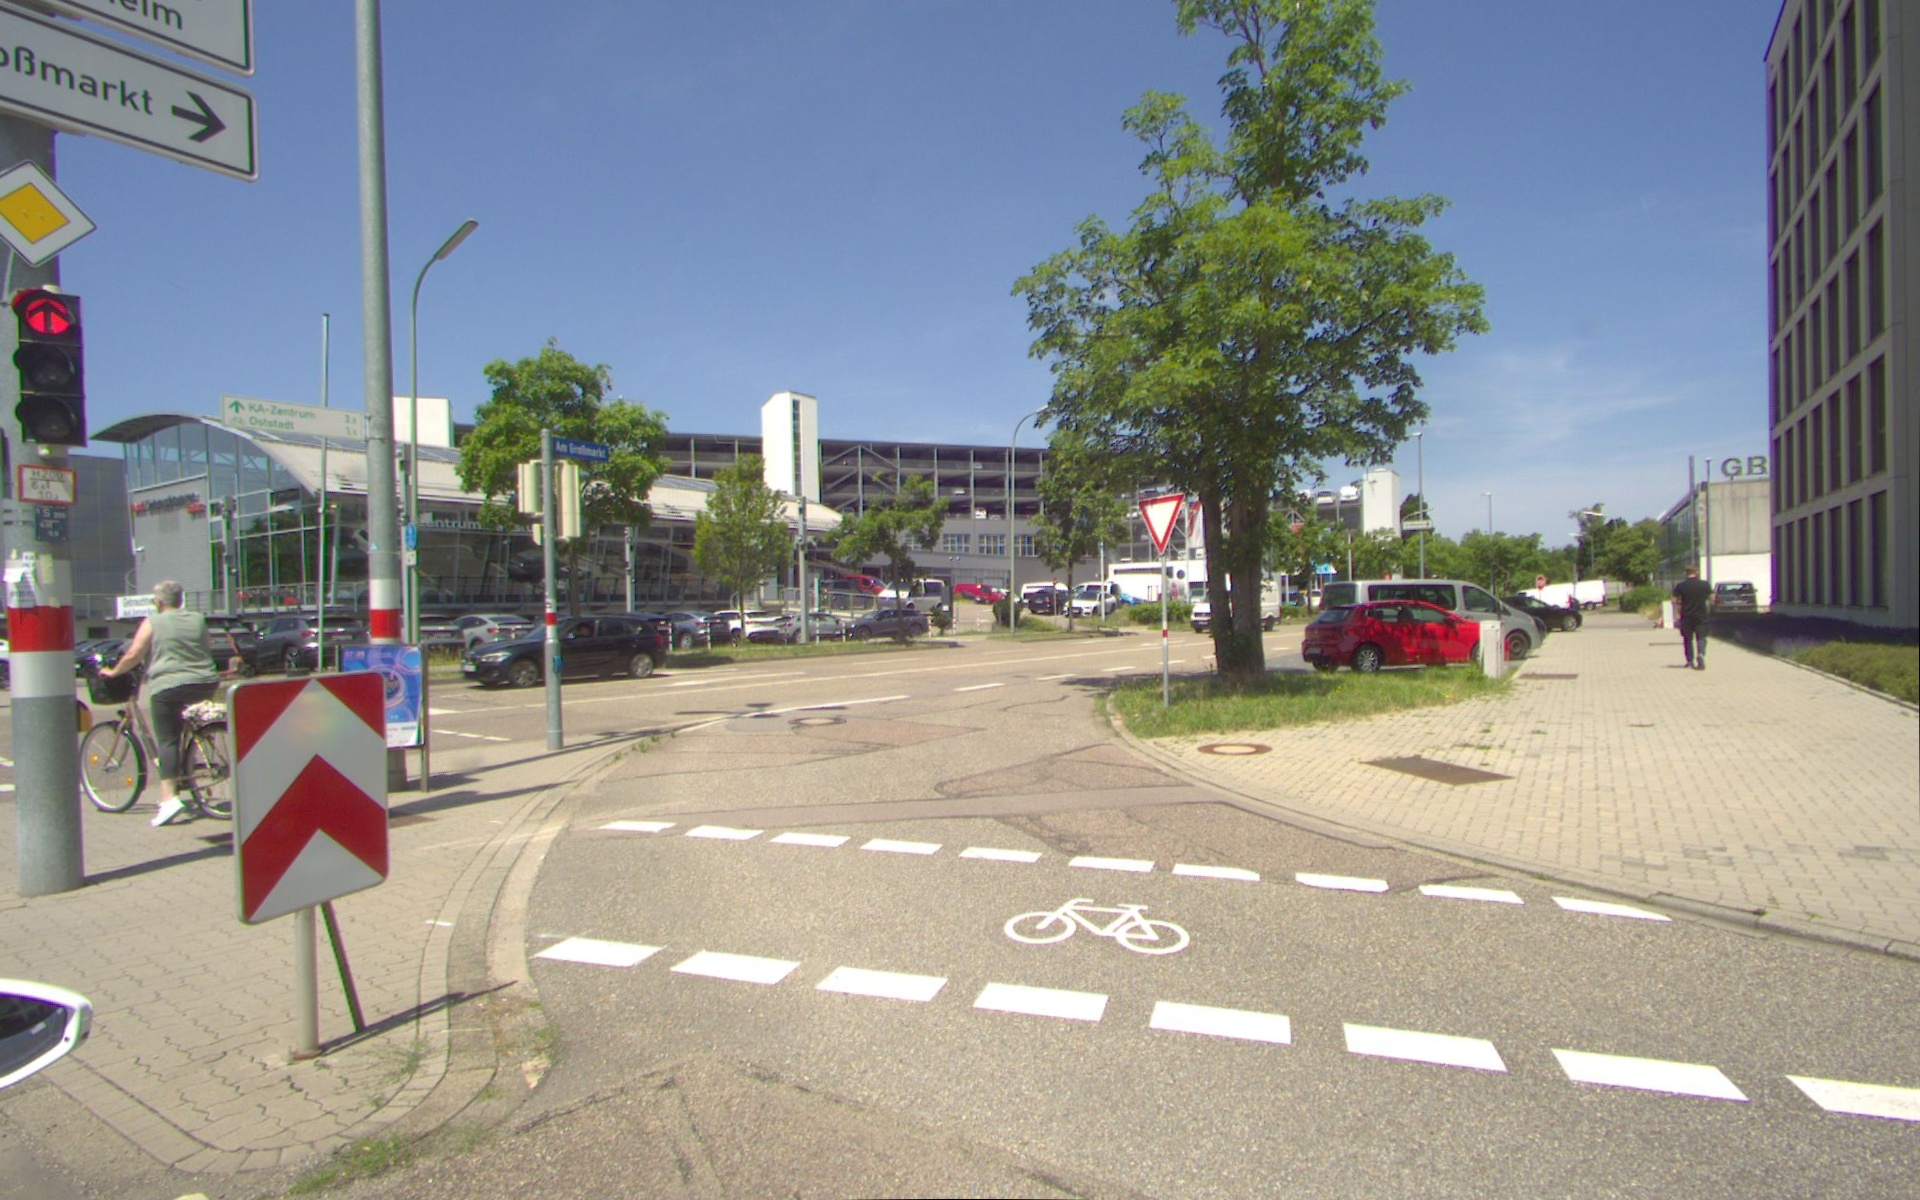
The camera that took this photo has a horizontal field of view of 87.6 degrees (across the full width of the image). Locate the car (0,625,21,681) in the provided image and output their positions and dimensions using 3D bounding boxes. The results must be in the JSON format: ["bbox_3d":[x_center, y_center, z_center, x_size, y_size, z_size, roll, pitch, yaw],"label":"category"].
[{"bbox_3d":[-27.399,1.463,25.518,1.973,1.476,4.729,-2,-1,34],"label":"car"}]

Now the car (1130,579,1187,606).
[{"bbox_3d":[15.495,-0.562,78.284,3.945,2.040,1.988,-1,0,34],"label":"car"}]

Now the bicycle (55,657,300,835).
[{"bbox_3d":[-5.934,1.032,7.579,1.891,1.142,0.786,0,0,29],"label":"bicycle"}]

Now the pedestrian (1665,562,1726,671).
[{"bbox_3d":[13.047,0.295,17.758,0.764,1.869,0.861,-2,0,40],"label":"pedestrian"}]

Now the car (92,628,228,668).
[{"bbox_3d":[-32.926,1.932,41.322,1.694,1.480,4.083,0,0,33],"label":"car"}]

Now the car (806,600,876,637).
[{"bbox_3d":[-6.888,1.036,58.068,1.839,2.040,3.732,-1,0,41],"label":"car"}]

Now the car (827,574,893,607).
[{"bbox_3d":[-6.729,-0.611,67.323,3.937,2.040,1.992,-1,0,27],"label":"car"}]

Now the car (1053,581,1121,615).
[{"bbox_3d":[8.154,-0.120,64.582,3.943,2.040,1.840,-1,0,32],"label":"car"}]

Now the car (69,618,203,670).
[{"bbox_3d":[-34.901,1.821,42.519,1.972,2.040,3.977,-1,0,33],"label":"car"}]

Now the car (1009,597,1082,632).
[{"bbox_3d":[5.142,0.890,60.330,3.943,2.040,1.989,-1,0,32],"label":"car"}]

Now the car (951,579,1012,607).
[{"bbox_3d":[1.649,-0.551,77.810,4.286,2.040,1.990,-1,0,30],"label":"car"}]

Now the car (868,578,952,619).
[{"bbox_3d":[-2.629,-0.079,53.980,1.972,2.040,5.117,-1,0,32],"label":"car"}]

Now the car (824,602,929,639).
[{"bbox_3d":[-3.954,0.939,47.606,4.702,1.662,1.821,-1,1,-35],"label":"car"}]

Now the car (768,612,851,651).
[{"bbox_3d":[-7.397,1.516,49.292,3.659,1.801,1.739,-1,0,-31],"label":"car"}]

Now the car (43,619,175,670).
[{"bbox_3d":[-37.277,1.912,43.953,1.972,2.040,3.977,-1,0,33],"label":"car"}]

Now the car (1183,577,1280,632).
[{"bbox_3d":[13.562,0.234,49.810,5.745,2.567,2.081,0,0,-45],"label":"car"}]

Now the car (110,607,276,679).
[{"bbox_3d":[-19.421,1.025,25.316,4.207,1.661,1.989,-1,0,32],"label":"car"}]

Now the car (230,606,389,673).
[{"bbox_3d":[-17.930,1.035,27.555,4.492,1.661,1.989,-1,0,32],"label":"car"}]

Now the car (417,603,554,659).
[{"bbox_3d":[-15.218,0.960,32.061,4.460,1.661,1.881,-1,1,32],"label":"car"}]

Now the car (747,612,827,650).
[{"bbox_3d":[-8.898,1.567,51.546,3.712,1.795,1.761,-1,0,-28],"label":"car"}]

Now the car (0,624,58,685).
[{"bbox_3d":[-25.114,1.365,24.107,1.973,1.476,4.729,0,0,34],"label":"car"}]

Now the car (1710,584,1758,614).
[{"bbox_3d":[42.088,-0.051,54.510,1.765,1.542,3.556,-2,0,33],"label":"car"}]

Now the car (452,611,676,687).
[{"bbox_3d":[-8.439,0.981,21.634,1.653,1.430,4.200,0,0,42],"label":"car"}]

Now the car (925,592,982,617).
[{"bbox_3d":[-0.470,0.329,74.348,3.943,1.810,1.730,-1,0,32],"label":"car"}]

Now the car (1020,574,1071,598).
[{"bbox_3d":[7.861,-1.286,92.258,4.257,2.040,1.989,-1,0,32],"label":"car"}]

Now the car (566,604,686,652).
[{"bbox_3d":[-12.272,0.995,36.713,4.410,1.661,1.824,-1,0,32],"label":"car"}]

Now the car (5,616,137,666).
[{"bbox_3d":[-39.468,1.763,44.547,1.972,2.040,3.977,-1,0,33],"label":"car"}]

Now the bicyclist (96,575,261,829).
[{"bbox_3d":[-5.837,0.721,7.494,0.742,1.772,0.733,0,0,28],"label":"bicyclist"}]

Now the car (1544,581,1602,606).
[{"bbox_3d":[55.235,-0.550,90.188,4.304,2.149,2.080,-1,0,36],"label":"car"}]

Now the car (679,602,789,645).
[{"bbox_3d":[-9.339,0.949,41.218,4.410,1.662,1.823,-1,1,32],"label":"car"}]

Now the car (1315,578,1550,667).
[{"bbox_3d":[10.911,0.484,23.242,4.814,1.839,1.704,-2,0,-10],"label":"car"}]

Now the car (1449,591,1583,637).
[{"bbox_3d":[21.426,0.555,38.702,4.075,1.558,1.815,-3,-1,2],"label":"car"}]

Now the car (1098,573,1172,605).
[{"bbox_3d":[12.045,-0.758,68.867,4.578,2.040,1.989,-1,0,32],"label":"car"}]

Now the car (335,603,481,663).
[{"bbox_3d":[-16.618,0.962,30.098,4.377,1.661,1.989,-1,1,32],"label":"car"}]

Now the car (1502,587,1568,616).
[{"bbox_3d":[41.661,0.126,72.542,3.949,2.040,1.986,-1,0,37],"label":"car"}]

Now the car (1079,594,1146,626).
[{"bbox_3d":[10.177,0.670,66.958,3.943,2.040,1.989,-1,0,32],"label":"car"}]

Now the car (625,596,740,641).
[{"bbox_3d":[-10.850,0.704,39.038,4.410,1.662,1.823,-1,1,32],"label":"car"}]

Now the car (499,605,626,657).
[{"bbox_3d":[-13.694,1.030,34.422,4.410,1.662,1.823,-1,1,32],"label":"car"}]

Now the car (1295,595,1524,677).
[{"bbox_3d":[8.968,0.698,20.121,3.924,1.454,1.609,-2,0,-8],"label":"car"}]
